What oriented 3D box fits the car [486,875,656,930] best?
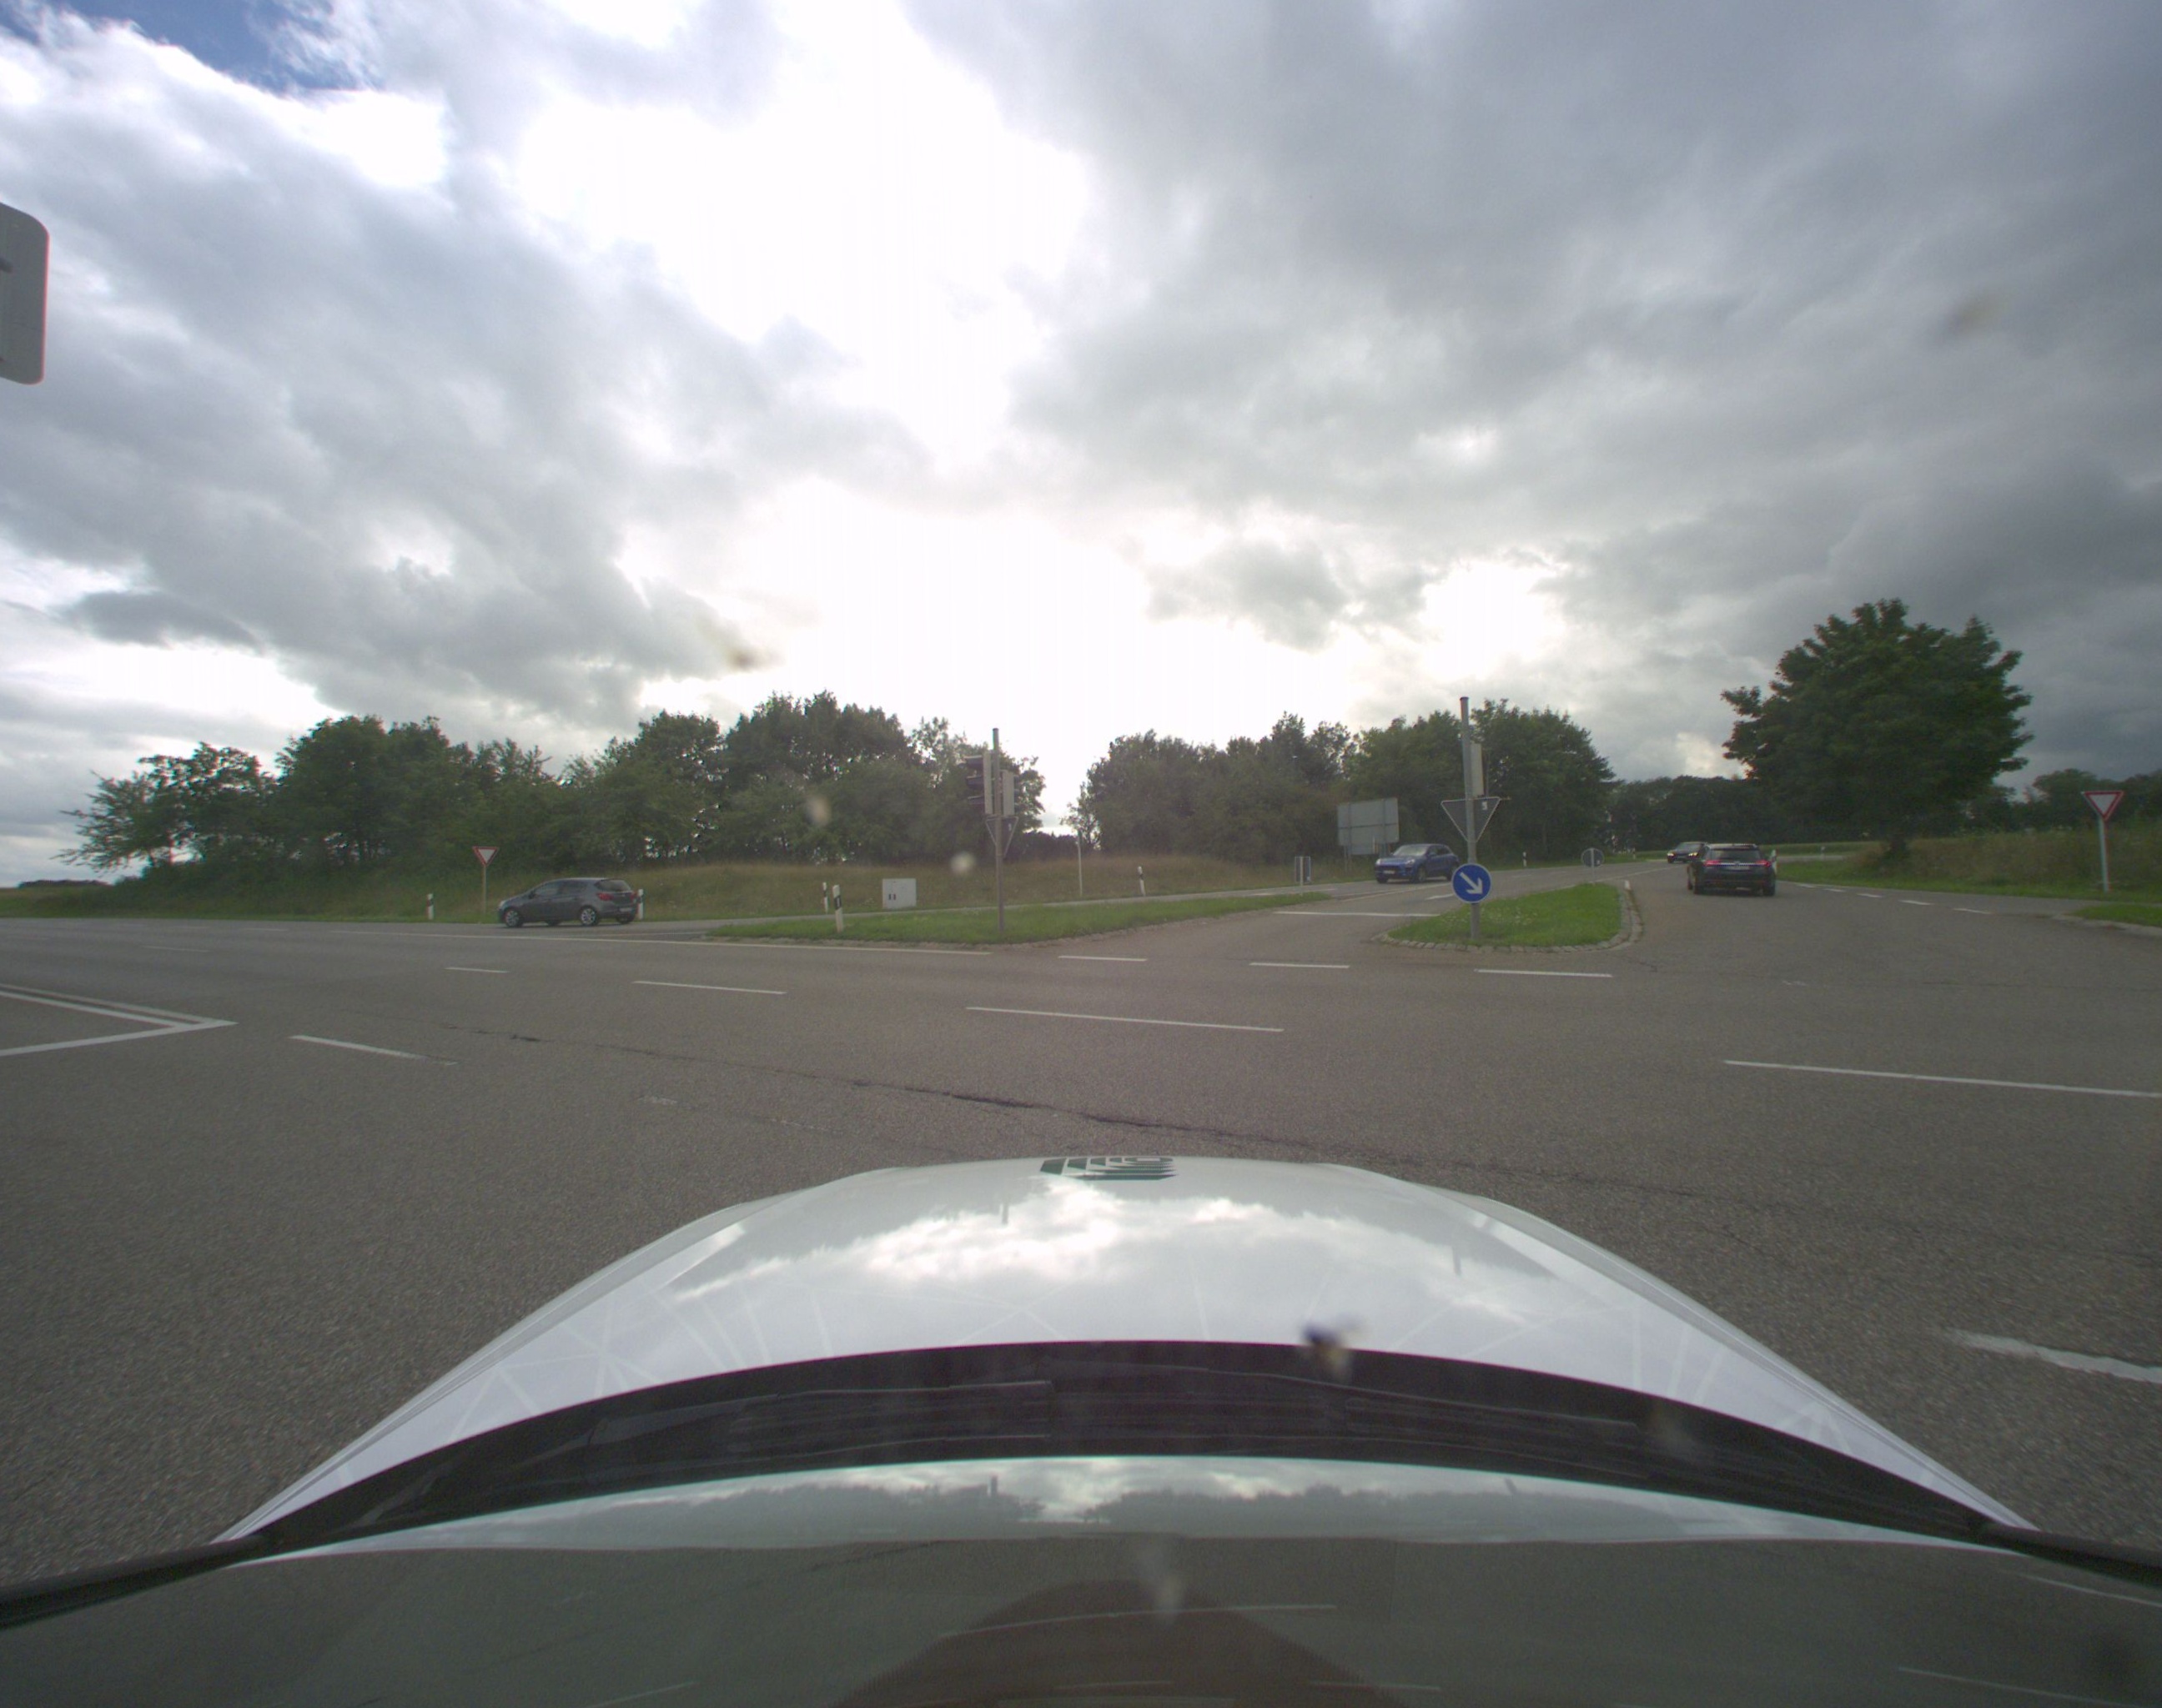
[{"bbox_3d":[-15.532,1.459,24.937,3.966,1.535,2.003,-1,-2,6],"label":"car"}]

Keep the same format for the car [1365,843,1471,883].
[{"bbox_3d":[14.247,0.352,34.341,4.779,1.570,1.977,-1,-1,-38],"label":"car"}]

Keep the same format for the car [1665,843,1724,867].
[{"bbox_3d":[42.343,0.071,56.193,4.688,1.503,1.978,-1,-1,-37],"label":"car"}]

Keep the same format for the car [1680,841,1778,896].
[{"bbox_3d":[18.939,0.406,23.969,1.790,1.451,4.300,-2,-1,33],"label":"car"}]
